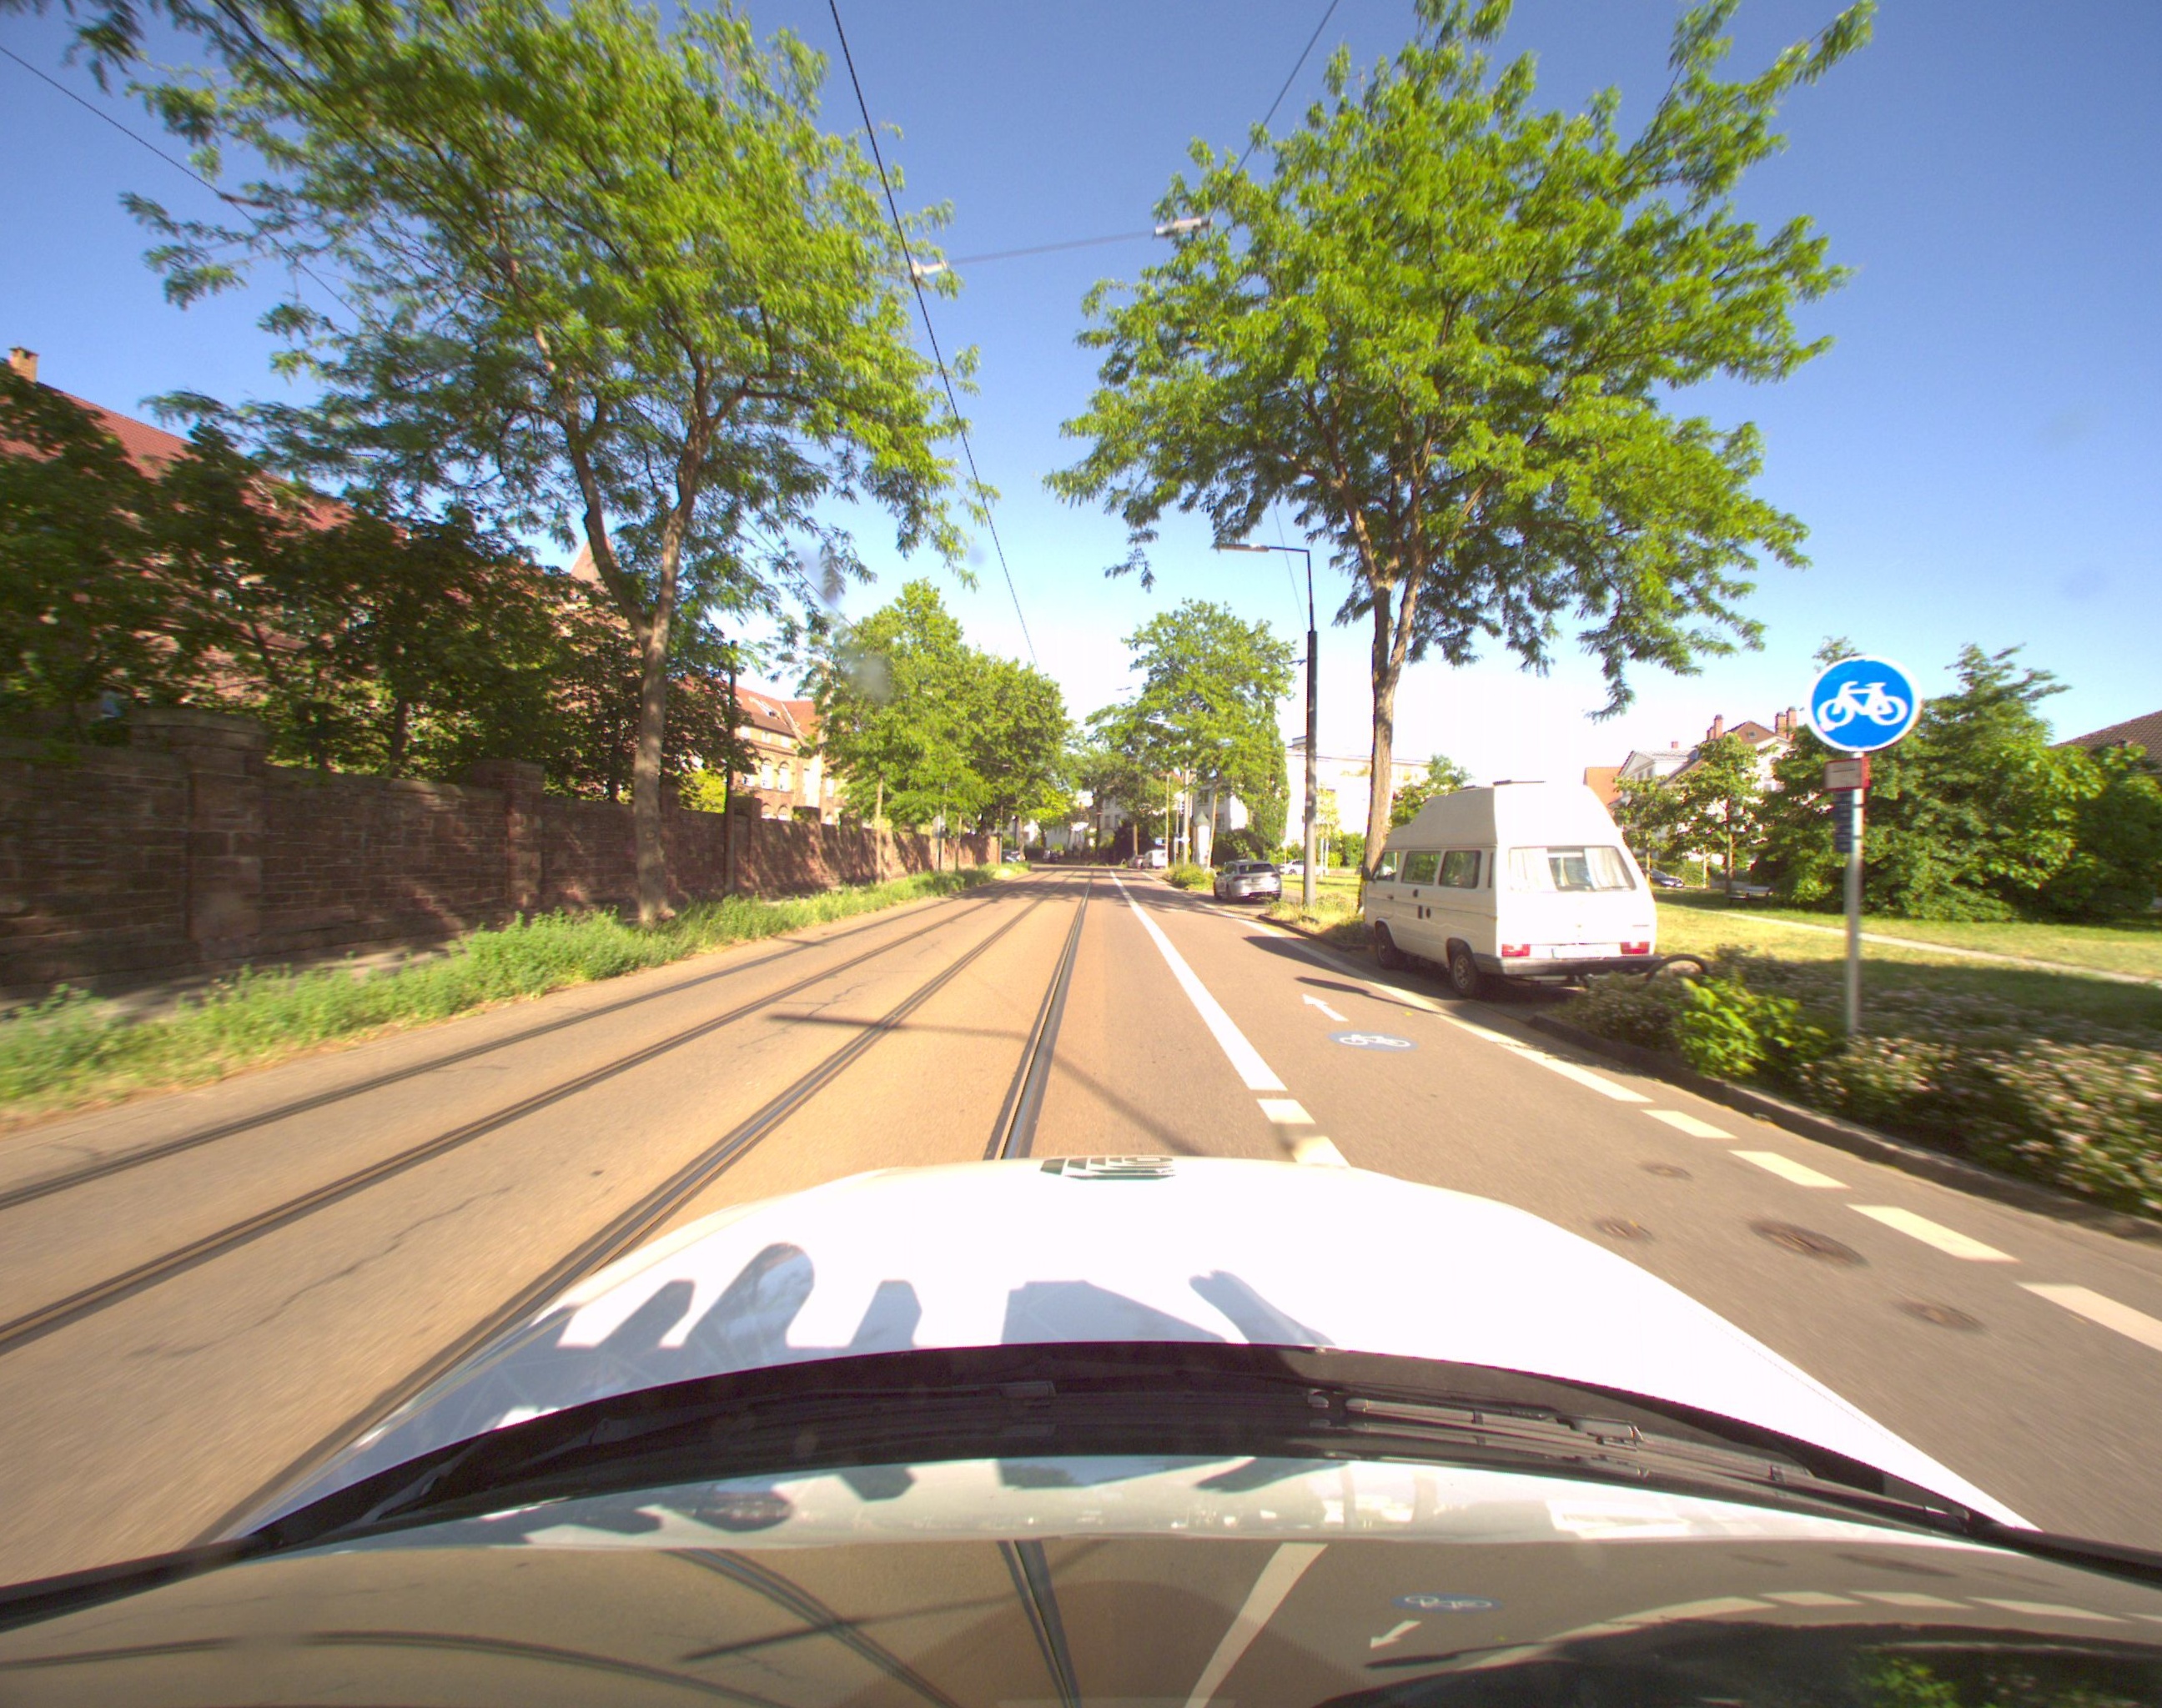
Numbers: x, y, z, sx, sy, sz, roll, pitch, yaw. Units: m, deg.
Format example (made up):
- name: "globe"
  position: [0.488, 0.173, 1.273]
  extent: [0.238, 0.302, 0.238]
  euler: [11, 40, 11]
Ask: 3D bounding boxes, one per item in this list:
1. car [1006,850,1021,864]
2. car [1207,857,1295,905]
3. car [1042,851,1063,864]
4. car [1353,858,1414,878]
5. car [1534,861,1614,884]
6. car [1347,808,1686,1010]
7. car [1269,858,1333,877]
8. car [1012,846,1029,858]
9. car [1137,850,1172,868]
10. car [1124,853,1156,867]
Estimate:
- name: "car"
  position: [-8.632, 0.387, 104.464]
  extent: [1.628, 1.792, 4.336]
  euler: [1, 0, -1]
- name: "car"
  position: [5.948, 0.887, 29.225]
  extent: [1.994, 1.465, 5.432]
  euler: [-2, 0, 0]
- name: "car"
  position: [-4.124, 0.487, 117.648]
  extent: [1.809, 1.694, 4.700]
  euler: [-2, 1, -18]
- name: "car"
  position: [24.489, 1.115, 65.961]
  extent: [4.282, 1.511, 1.833]
  euler: [1, -3, -11]
- name: "car"
  position: [35.409, 1.312, 58.612]
  extent: [2.063, 1.471, 4.727]
  euler: [1, 0, -18]
- name: "car"
  position: [5.349, 0.575, 10.903]
  extent: [1.987, 2.095, 4.715]
  euler: [1, 0, 0]
- name: "car"
  position: [17.303, 1.036, 64.027]
  extent: [4.521, 1.369, 1.957]
  euler: [1, 0, -17]
- name: "car"
  position: [-8.816, -0.229, 118.240]
  extent: [1.893, 1.611, 4.212]
  euler: [1, -2, -11]
- name: "car"
  position: [7.144, 0.474, 79.601]
  extent: [2.025, 1.746, 4.729]
  euler: [1, 0, -14]
- name: "car"
  position: [6.168, 0.664, 85.508]
  extent: [1.997, 1.423, 4.311]
  euler: [1, -1, -15]
